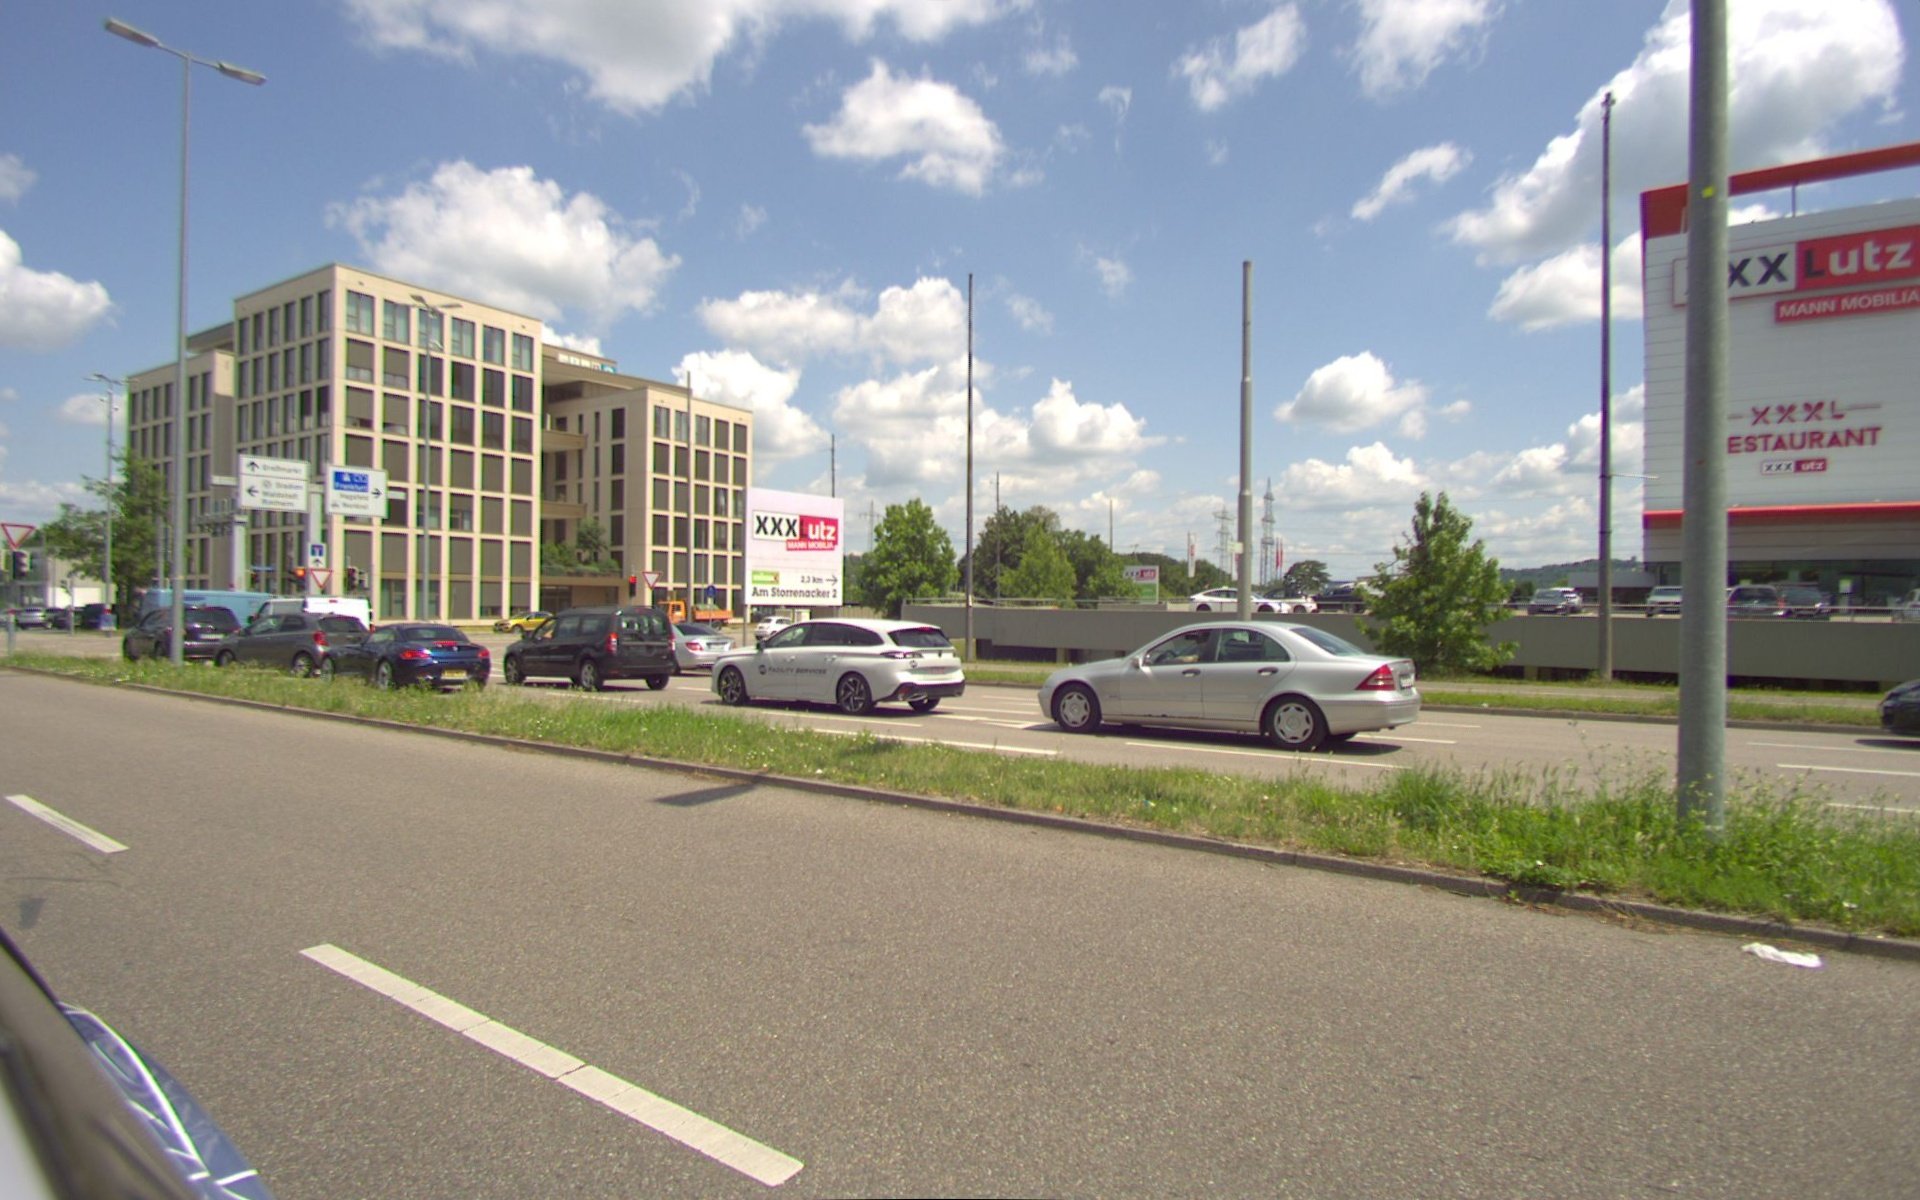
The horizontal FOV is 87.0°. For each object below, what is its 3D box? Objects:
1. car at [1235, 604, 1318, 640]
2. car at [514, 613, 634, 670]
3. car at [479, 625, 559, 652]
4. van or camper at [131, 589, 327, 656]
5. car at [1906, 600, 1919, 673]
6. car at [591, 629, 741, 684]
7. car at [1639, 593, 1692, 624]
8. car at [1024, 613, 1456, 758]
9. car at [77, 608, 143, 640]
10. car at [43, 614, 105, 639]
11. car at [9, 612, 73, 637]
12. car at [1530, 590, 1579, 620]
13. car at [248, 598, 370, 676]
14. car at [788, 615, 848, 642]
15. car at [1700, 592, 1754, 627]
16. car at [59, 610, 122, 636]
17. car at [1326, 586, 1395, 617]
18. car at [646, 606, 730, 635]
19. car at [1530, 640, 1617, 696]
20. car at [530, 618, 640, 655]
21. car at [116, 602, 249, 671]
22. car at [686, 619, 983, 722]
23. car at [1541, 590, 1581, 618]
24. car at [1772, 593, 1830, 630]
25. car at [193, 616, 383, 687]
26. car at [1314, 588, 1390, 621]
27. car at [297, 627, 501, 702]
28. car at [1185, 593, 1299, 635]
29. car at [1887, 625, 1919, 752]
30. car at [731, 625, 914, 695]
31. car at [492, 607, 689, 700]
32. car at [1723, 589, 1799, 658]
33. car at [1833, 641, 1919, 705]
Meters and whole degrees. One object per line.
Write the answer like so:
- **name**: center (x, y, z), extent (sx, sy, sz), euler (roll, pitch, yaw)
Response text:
- **car**: center (16.531, 1.181, 52.891), extent (3.820, 1.847, 1.836), euler (-1, -2, 32)
- **car**: center (-12.253, 1.319, 32.041), extent (3.864, 1.714, 1.775), euler (-2, -3, 37)
- **car**: center (-27.693, 2.415, 63.694), extent (1.993, 1.644, 4.265), euler (-1, -2, 32)
- **van or camper**: center (-28.148, 0.924, 39.222), extent (1.994, 2.399, 5.784), euler (-1, -2, 33)
- **car**: center (32.761, 1.195, 33.370), extent (1.998, 2.347, 4.305), euler (-1, -2, 40)
- **car**: center (-8.078, 1.512, 27.569), extent (4.577, 1.402, 1.603), euler (-2, -3, 39)
- **car**: center (35.260, 0.454, 50.541), extent (1.854, 1.481, 3.782), euler (-2, -3, 40)
- **car**: center (3.194, 0.939, 12.096), extent (4.665, 1.429, 1.775), euler (-2, -4, 36)
- **car**: center (-58.316, 1.631, 69.515), extent (2.106, 2.108, 4.036), euler (1, -2, -19)
- **car**: center (-64.513, 1.889, 73.747), extent (1.831, 1.741, 4.195), euler (1, -1, -18)
- **car**: center (-67.018, 1.769, 73.886), extent (1.831, 1.741, 4.195), euler (1, -1, -18)
- **car**: center (31.373, 0.300, 53.391), extent (1.590, 1.481, 3.782), euler (-2, -3, 40)
- **car**: center (-18.486, 1.062, 28.715), extent (3.571, 2.059, 1.839), euler (-2, -3, 38)
- **car**: center (-9.604, 1.904, 68.485), extent (1.862, 1.741, 3.709), euler (2, 0, 40)
- **car**: center (34.555, 0.449, 45.634), extent (1.853, 1.481, 3.785), euler (-2, -3, 37)
- **car**: center (-61.529, 1.632, 71.680), extent (1.831, 1.741, 4.195), euler (1, -1, -18)
- **car**: center (25.569, 0.127, 64.669), extent (3.823, 1.847, 1.835), euler (-1, -2, 34)
- **car**: center (-23.287, 1.812, 86.964), extent (2.854, 2.347, 6.441), euler (-4, -4, 43)
- **car**: center (19.235, 2.066, 31.673), extent (1.915, 1.608, 3.949), euler (-2, -3, 37)
- **car**: center (-18.761, 1.836, 50.886), extent (1.860, 1.741, 4.965), euler (0, -2, 36)
- **car**: center (-20.358, 0.965, 26.449), extent (4.165, 1.657, 1.774), euler (-2, -3, 38)
- **car**: center (-2.102, 1.075, 16.112), extent (4.836, 1.413, 1.775), euler (-2, -4, 37)
- **car**: center (37.008, 0.278, 62.251), extent (1.851, 1.556, 3.788), euler (-1, -2, 34)
- **car**: center (36.434, 0.539, 43.879), extent (1.854, 1.481, 3.782), euler (-2, -3, 39)
- **car**: center (-15.795, 1.201, 23.827), extent (3.739, 1.572, 1.787), euler (-1, -2, 18)
- **car**: center (22.795, 0.301, 58.901), extent (3.825, 1.847, 1.833), euler (-1, -3, 36)
- **car**: center (-10.662, 1.177, 19.135), extent (4.299, 1.260, 1.775), euler (-2, -3, 37)
- **car**: center (12.890, 0.679, 46.371), extent (4.662, 1.847, 1.834), euler (-1, -3, 34)
- **car**: center (13.139, 1.007, 11.184), extent (4.111, 1.481, 1.603), euler (-2, -3, 38)
- **car**: center (-3.235, 1.359, 23.410), extent (4.351, 1.484, 1.604), euler (-2, -3, 37)
- **car**: center (-7.593, 1.069, 20.657), extent (4.219, 1.714, 1.775), euler (-2, -3, 37)
- **car**: center (28.969, 0.868, 36.726), extent (1.997, 2.347, 4.308), euler (-1, -2, 37)
- **car**: center (25.054, 1.921, 27.394), extent (1.847, 1.608, 3.949), euler (-2, -3, 37)
